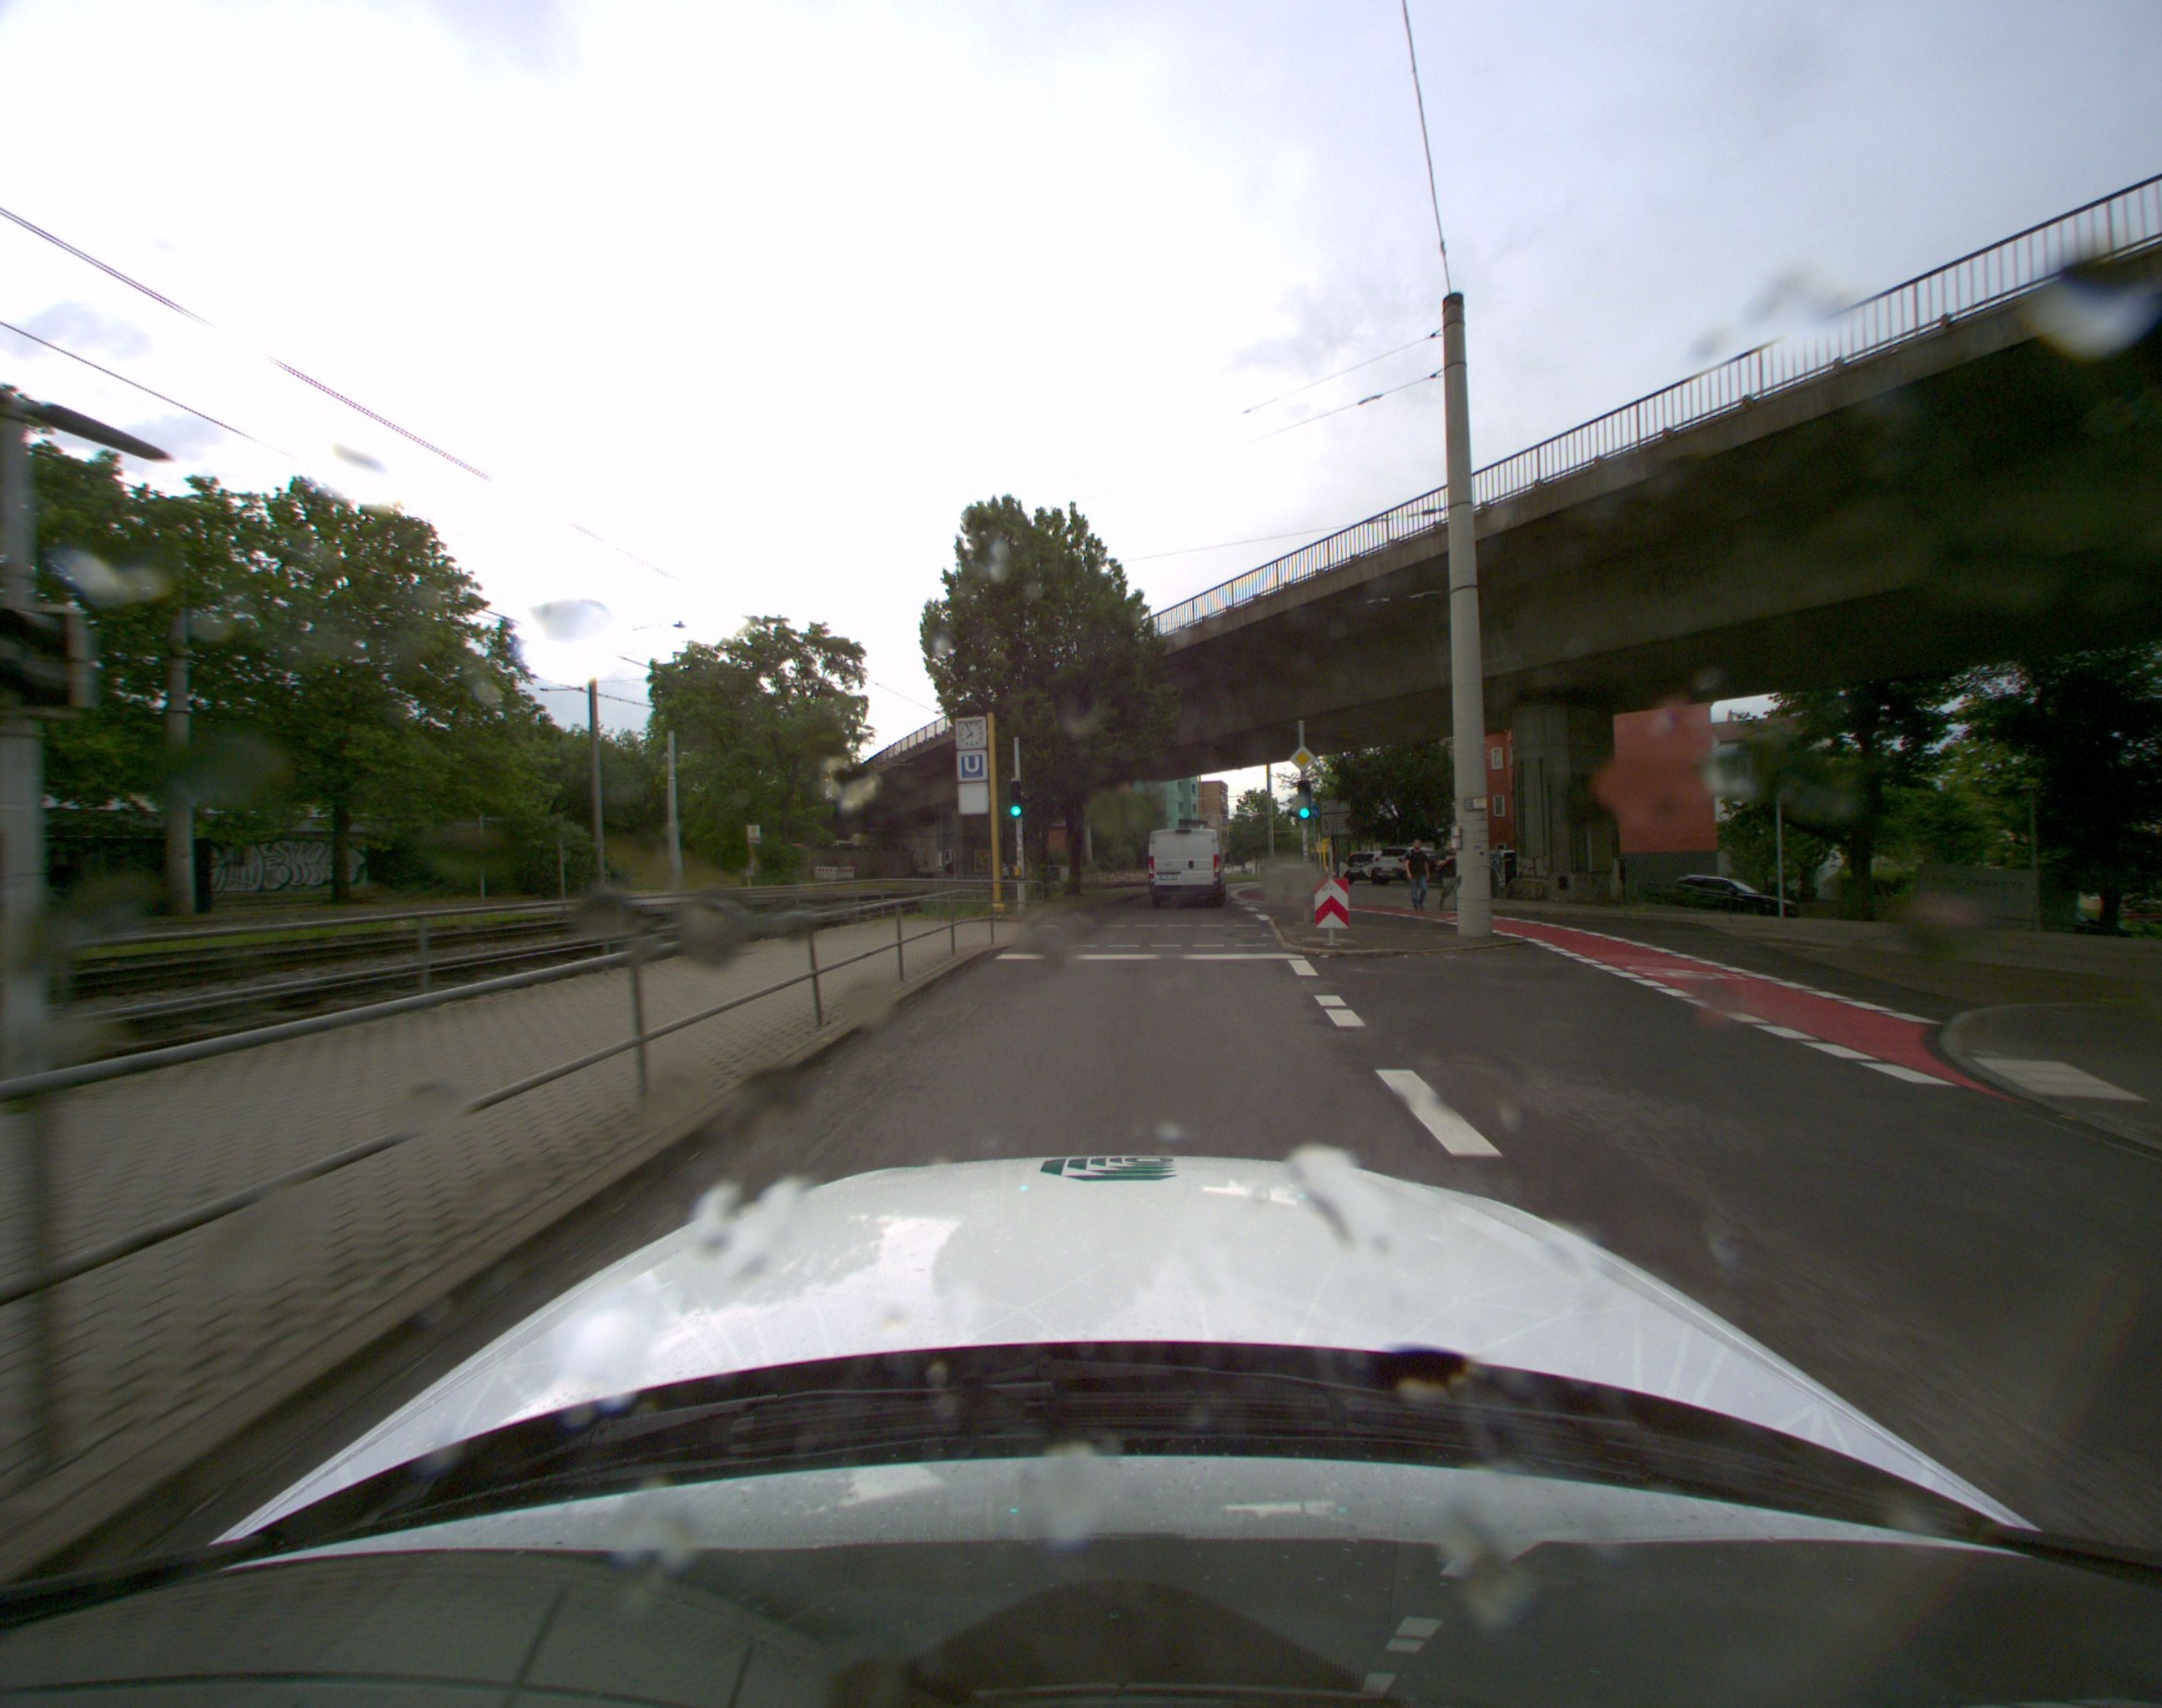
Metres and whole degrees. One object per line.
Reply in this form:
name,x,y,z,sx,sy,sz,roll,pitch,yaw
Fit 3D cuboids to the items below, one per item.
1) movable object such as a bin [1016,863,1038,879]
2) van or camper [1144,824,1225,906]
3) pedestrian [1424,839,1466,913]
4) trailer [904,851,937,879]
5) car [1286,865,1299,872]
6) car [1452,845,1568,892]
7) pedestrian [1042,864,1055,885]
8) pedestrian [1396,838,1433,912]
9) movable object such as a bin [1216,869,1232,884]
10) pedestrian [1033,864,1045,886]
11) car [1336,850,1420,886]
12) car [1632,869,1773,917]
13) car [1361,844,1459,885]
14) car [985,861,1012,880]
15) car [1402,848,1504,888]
movable object such as a bin,-5.332,1.671,79.660,1.565,1.479,1.786,0,0,-28
van or camper,3.275,0.336,24.923,2.185,2.253,4.696,1,-1,10
pedestrian,9.285,0.558,20.801,0.597,1.822,0.907,1,-1,-8
trailer,-15.780,1.094,80.009,2.006,2.725,4.083,1,-1,-30
car,45.972,3.195,176.755,1.975,1.442,4.022,0,-1,25
car,15.223,0.530,28.855,4.013,1.572,1.886,2,-2,-32
pedestrian,-2.638,1.688,66.233,0.687,1.670,0.893,-1,-1,30
pedestrian,8.420,0.525,20.576,0.623,1.808,0.837,1,-1,4
movable object such as a bin,21.618,3.436,123.098,2.116,2.157,1.811,0,0,18
pedestrian,-3.451,1.725,66.896,0.687,1.831,0.871,-1,-1,27
car,13.536,0.616,37.070,3.751,1.522,1.783,0,-1,-35
car,23.960,1.473,31.606,3.952,1.596,2.011,1,0,23
car,13.996,0.443,34.593,4.040,1.631,1.946,0,-1,-35
car,-8.095,1.587,79.735,1.722,1.667,3.172,1,0,-25
car,14.377,0.498,31.401,4.067,1.439,1.768,0,-1,-35
